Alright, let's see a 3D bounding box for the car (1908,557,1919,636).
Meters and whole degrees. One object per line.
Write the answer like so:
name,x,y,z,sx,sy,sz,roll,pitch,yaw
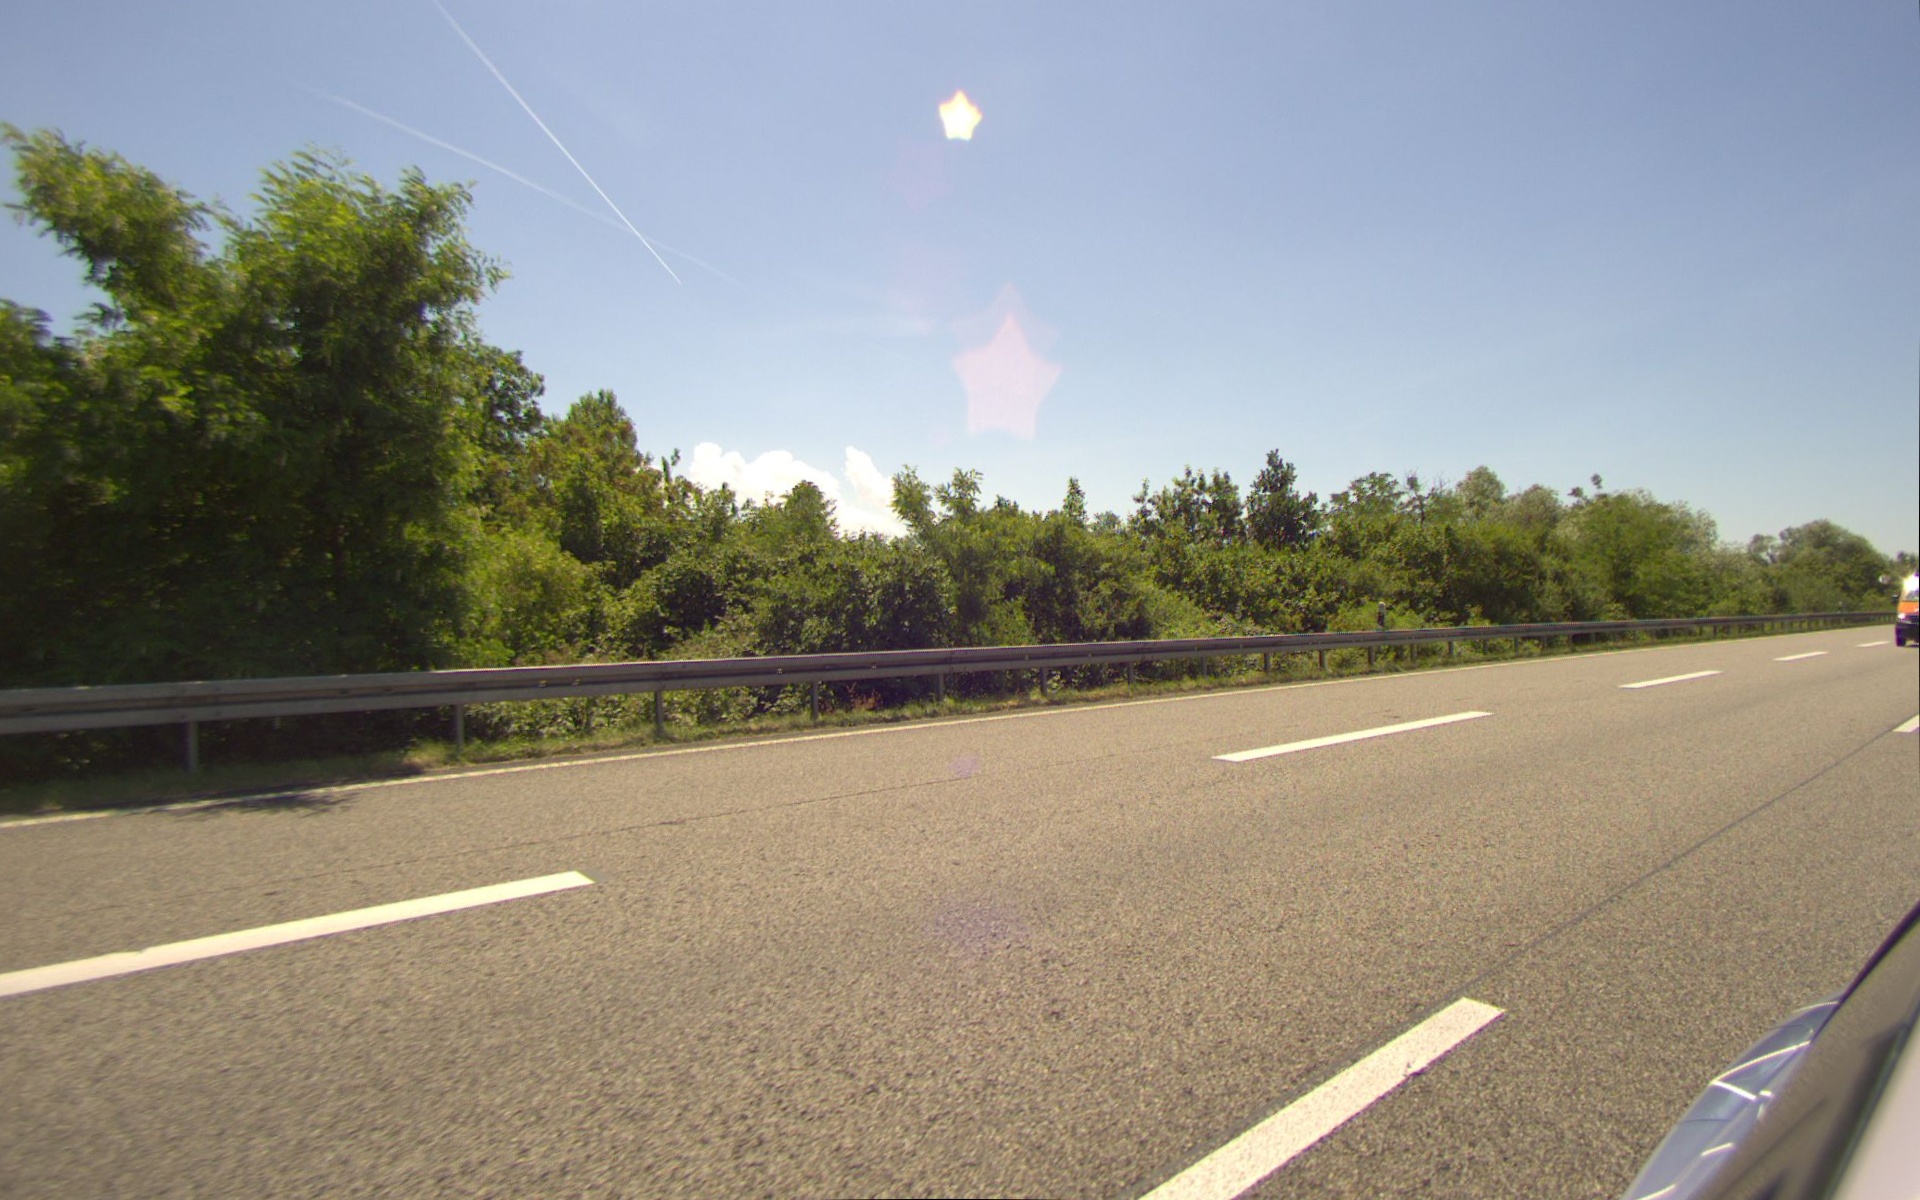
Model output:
car,33.015,-0.094,33.076,7.095,2.436,1.998,0,-1,-39
